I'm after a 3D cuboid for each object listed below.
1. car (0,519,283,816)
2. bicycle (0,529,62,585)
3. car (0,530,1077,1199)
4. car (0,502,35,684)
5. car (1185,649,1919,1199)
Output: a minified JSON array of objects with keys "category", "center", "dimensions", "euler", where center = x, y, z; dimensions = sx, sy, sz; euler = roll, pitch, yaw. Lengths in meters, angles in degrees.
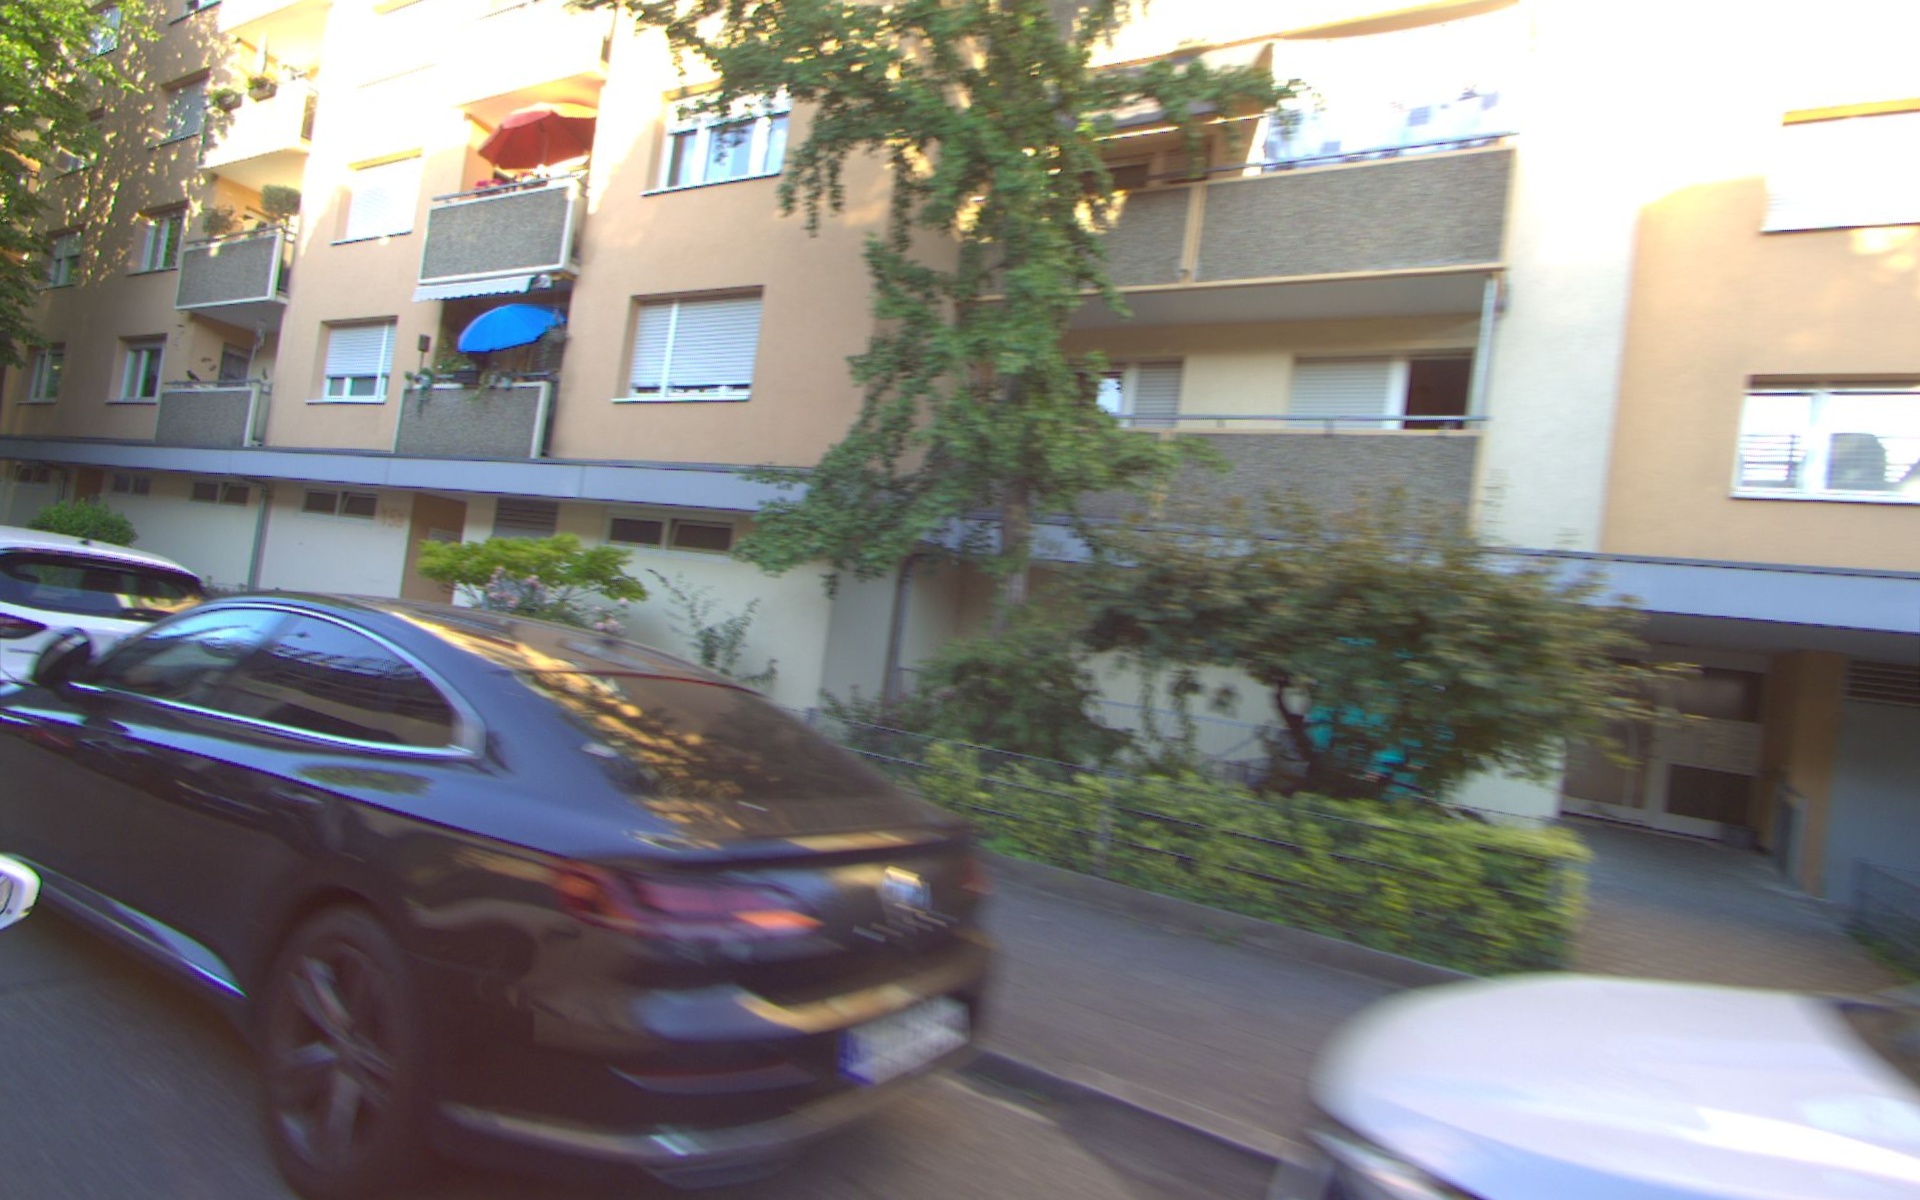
[{"category":"car","center":[-6.411,0.220,6.560],"dimensions":[3.985,1.478,1.614],"euler":[7,-2,30]},{"category":"bicycle","center":[-18.938,-0.882,20.356],"dimensions":[1.803,0.932,0.524],"euler":[7,-1,30]},{"category":"car","center":[-2.087,0.698,3.759],"dimensions":[4.547,1.433,1.814],"euler":[7,-2,30]},{"category":"car","center":[-10.522,-0.347,9.186],"dimensions":[4.123,1.580,1.796],"euler":[7,-2,30]},{"category":"car","center":[2.425,1.078,1.284],"dimensions":[3.830,1.433,1.814],"euler":[7,-2,31]}]
